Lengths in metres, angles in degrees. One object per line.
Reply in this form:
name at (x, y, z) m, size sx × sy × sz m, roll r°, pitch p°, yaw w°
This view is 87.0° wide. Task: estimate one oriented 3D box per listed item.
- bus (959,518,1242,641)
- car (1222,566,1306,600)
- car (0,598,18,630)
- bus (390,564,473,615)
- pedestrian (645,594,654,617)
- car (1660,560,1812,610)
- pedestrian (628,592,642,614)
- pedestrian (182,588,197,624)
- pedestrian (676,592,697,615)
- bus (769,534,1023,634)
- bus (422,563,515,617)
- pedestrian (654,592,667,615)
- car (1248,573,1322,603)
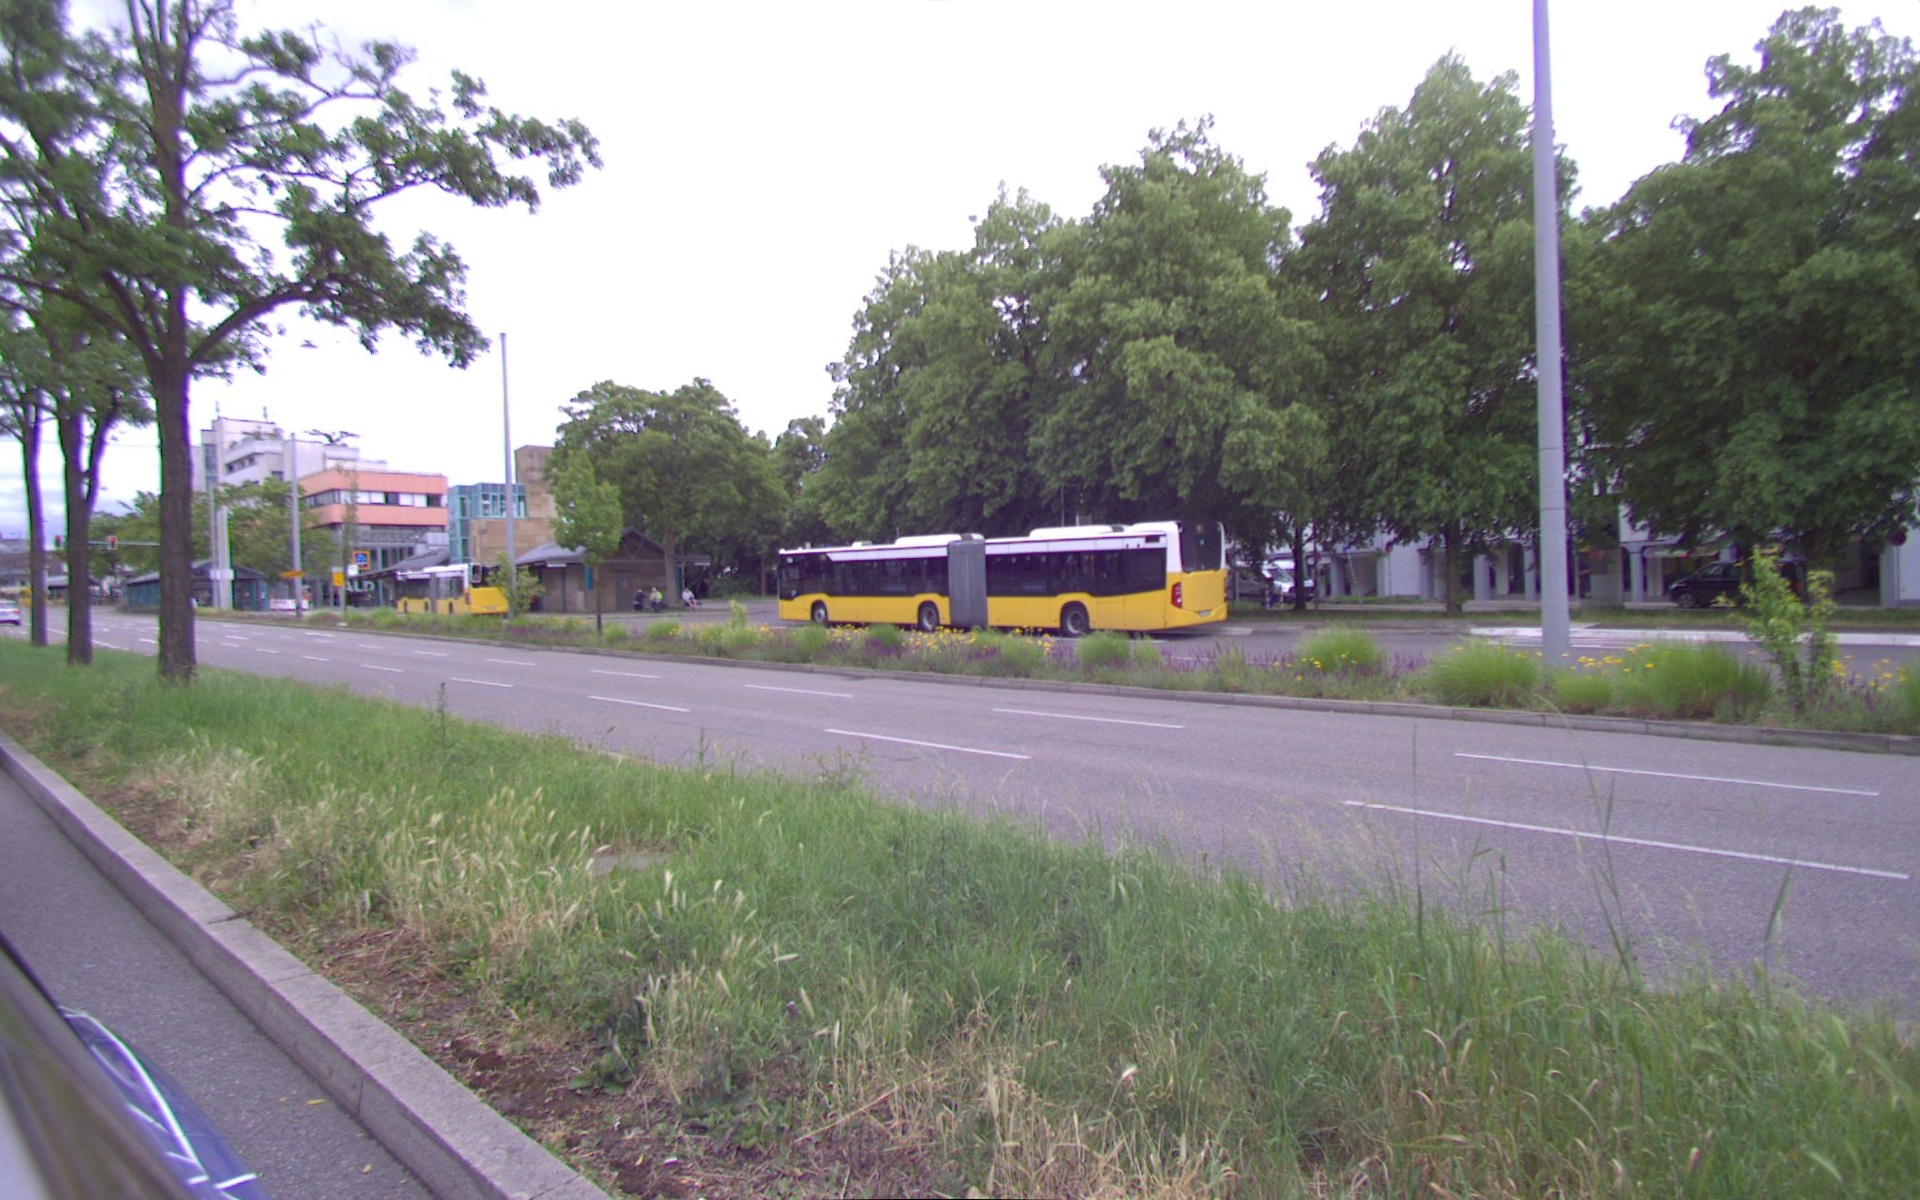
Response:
bus at (3.739, -0.494, 28.821) m, size 2.848 × 3.025 × 7.889 m, roll -1°, pitch 0°, yaw -44°
car at (15.944, -0.870, 53.249) m, size 1.663 × 1.763 × 4.010 m, roll -1°, pitch 1°, yaw -35°
car at (-62.456, 0.891, 65.670) m, size 4.001 × 2.029 × 1.703 m, roll -1°, pitch 0°, yaw 44°
bus at (-33.921, -0.617, 64.774) m, size 2.846 × 3.025 × 9.192 m, roll -1°, pitch 0°, yaw -39°
pedestrian at (-16.195, 0.269, 52.787) m, size 0.361 × 1.175 × 0.900 m, roll 0°, pitch 0°, yaw -23°
car at (30.567, -0.581, 40.002) m, size 1.758 × 1.861 × 4.429 m, roll -1°, pitch 0°, yaw -34°
pedestrian at (-17.497, 0.154, 54.521) m, size 0.589 × 1.171 × 0.745 m, roll 0°, pitch 0°, yaw -29°
pedestrian at (-60.956, 0.467, 80.062) m, size 0.889 × 2.809 × 1.150 m, roll 0°, pitch 0°, yaw -36°
pedestrian at (-14.481, 0.196, 53.580) m, size 0.924 × 1.180 × 0.641 m, roll 0°, pitch 0°, yaw 41°
bus at (-2.596, -0.464, 35.441) m, size 2.848 × 3.025 × 10.402 m, roll -1°, pitch 0°, yaw -44°
bus at (-28.252, -0.537, 57.876) m, size 2.845 × 2.830 × 9.193 m, roll -1°, pitch 0°, yaw -38°
pedestrian at (-15.661, 0.186, 52.939) m, size 0.589 × 1.171 × 0.745 m, roll 0°, pitch 0°, yaw -23°
car at (19.234, -0.687, 59.984) m, size 1.751 × 1.652 × 4.012 m, roll -1°, pitch 0°, yaw -31°
